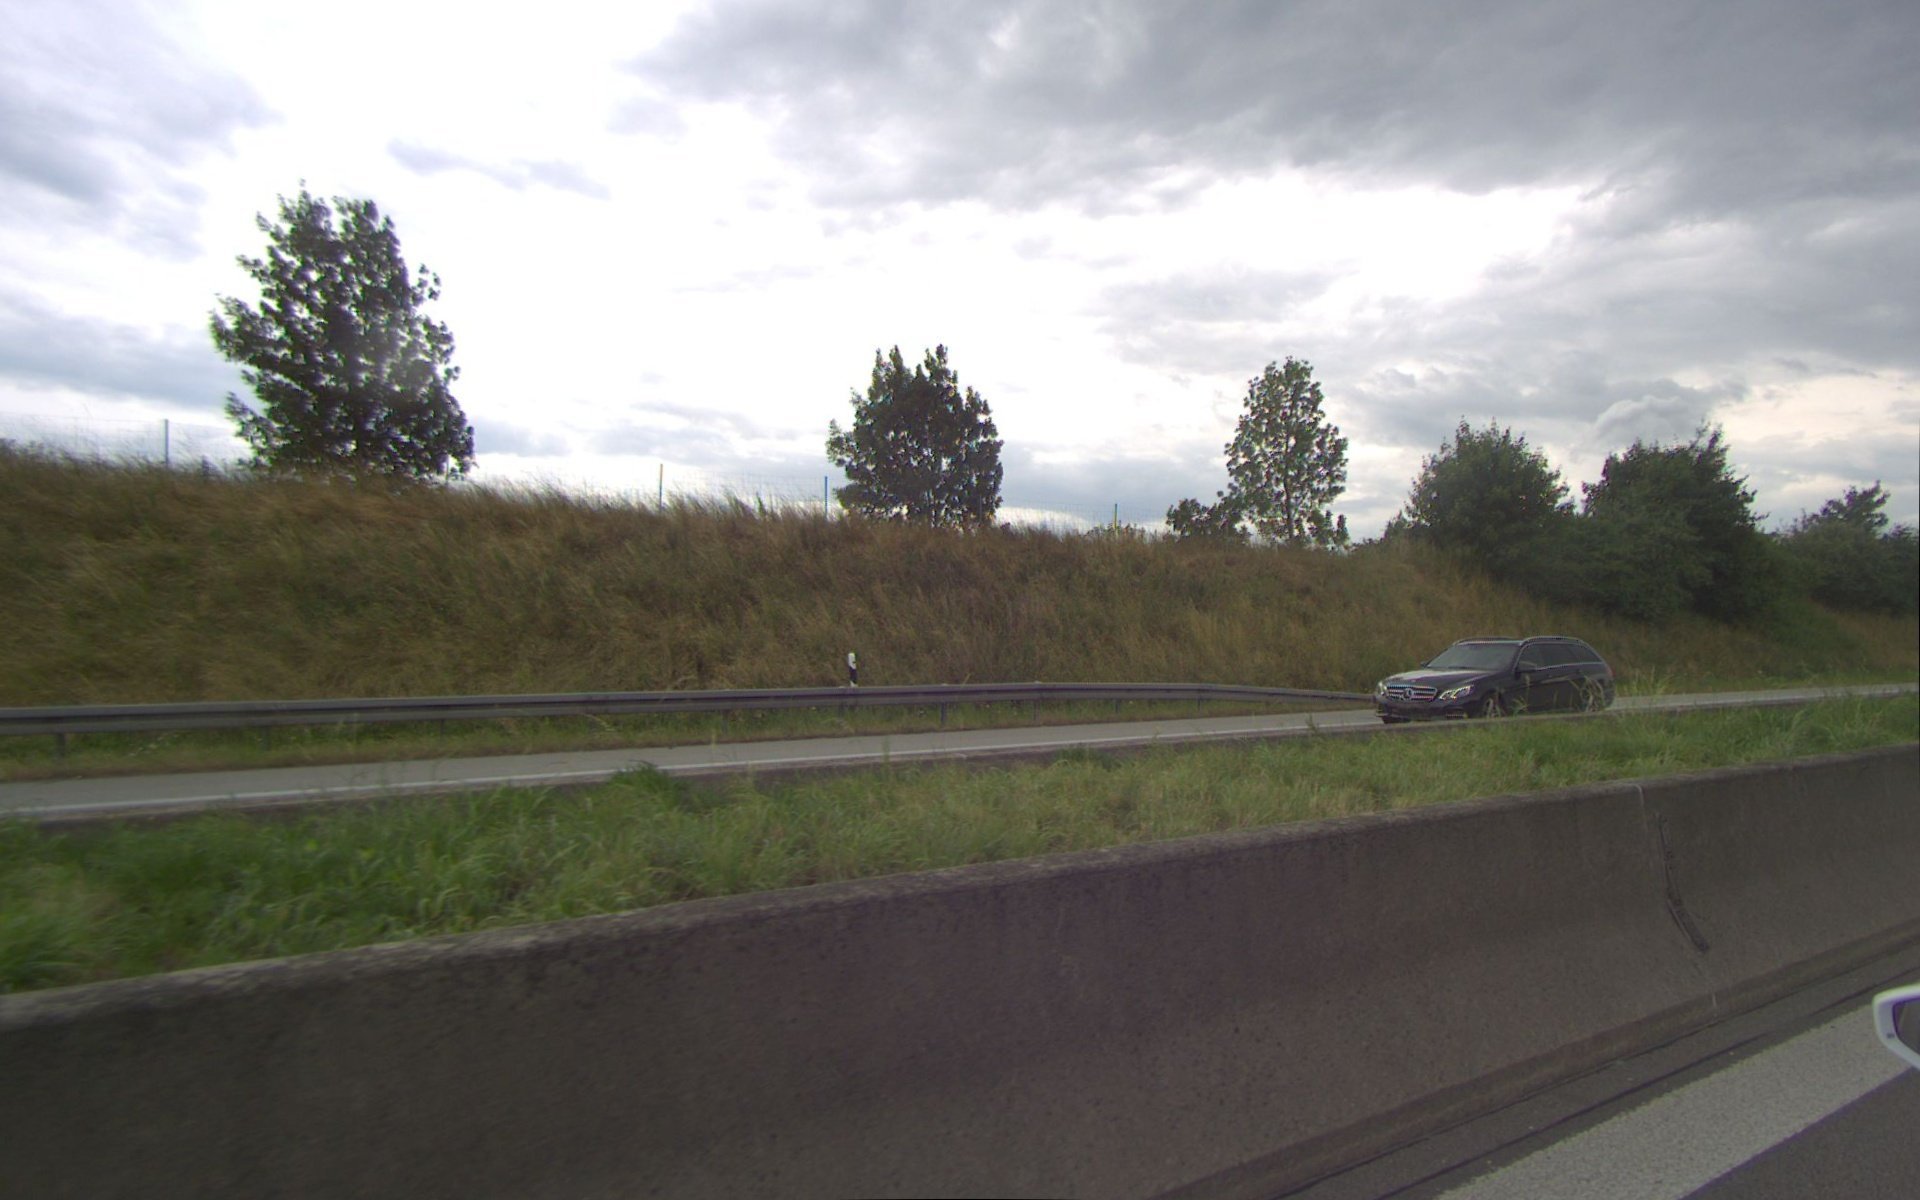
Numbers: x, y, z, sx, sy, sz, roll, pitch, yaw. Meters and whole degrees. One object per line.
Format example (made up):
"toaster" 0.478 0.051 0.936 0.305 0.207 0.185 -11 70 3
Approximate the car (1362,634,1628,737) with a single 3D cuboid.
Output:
"car" 9.079 1.368 16.964 4.526 1.516 1.837 1 -4 -30
